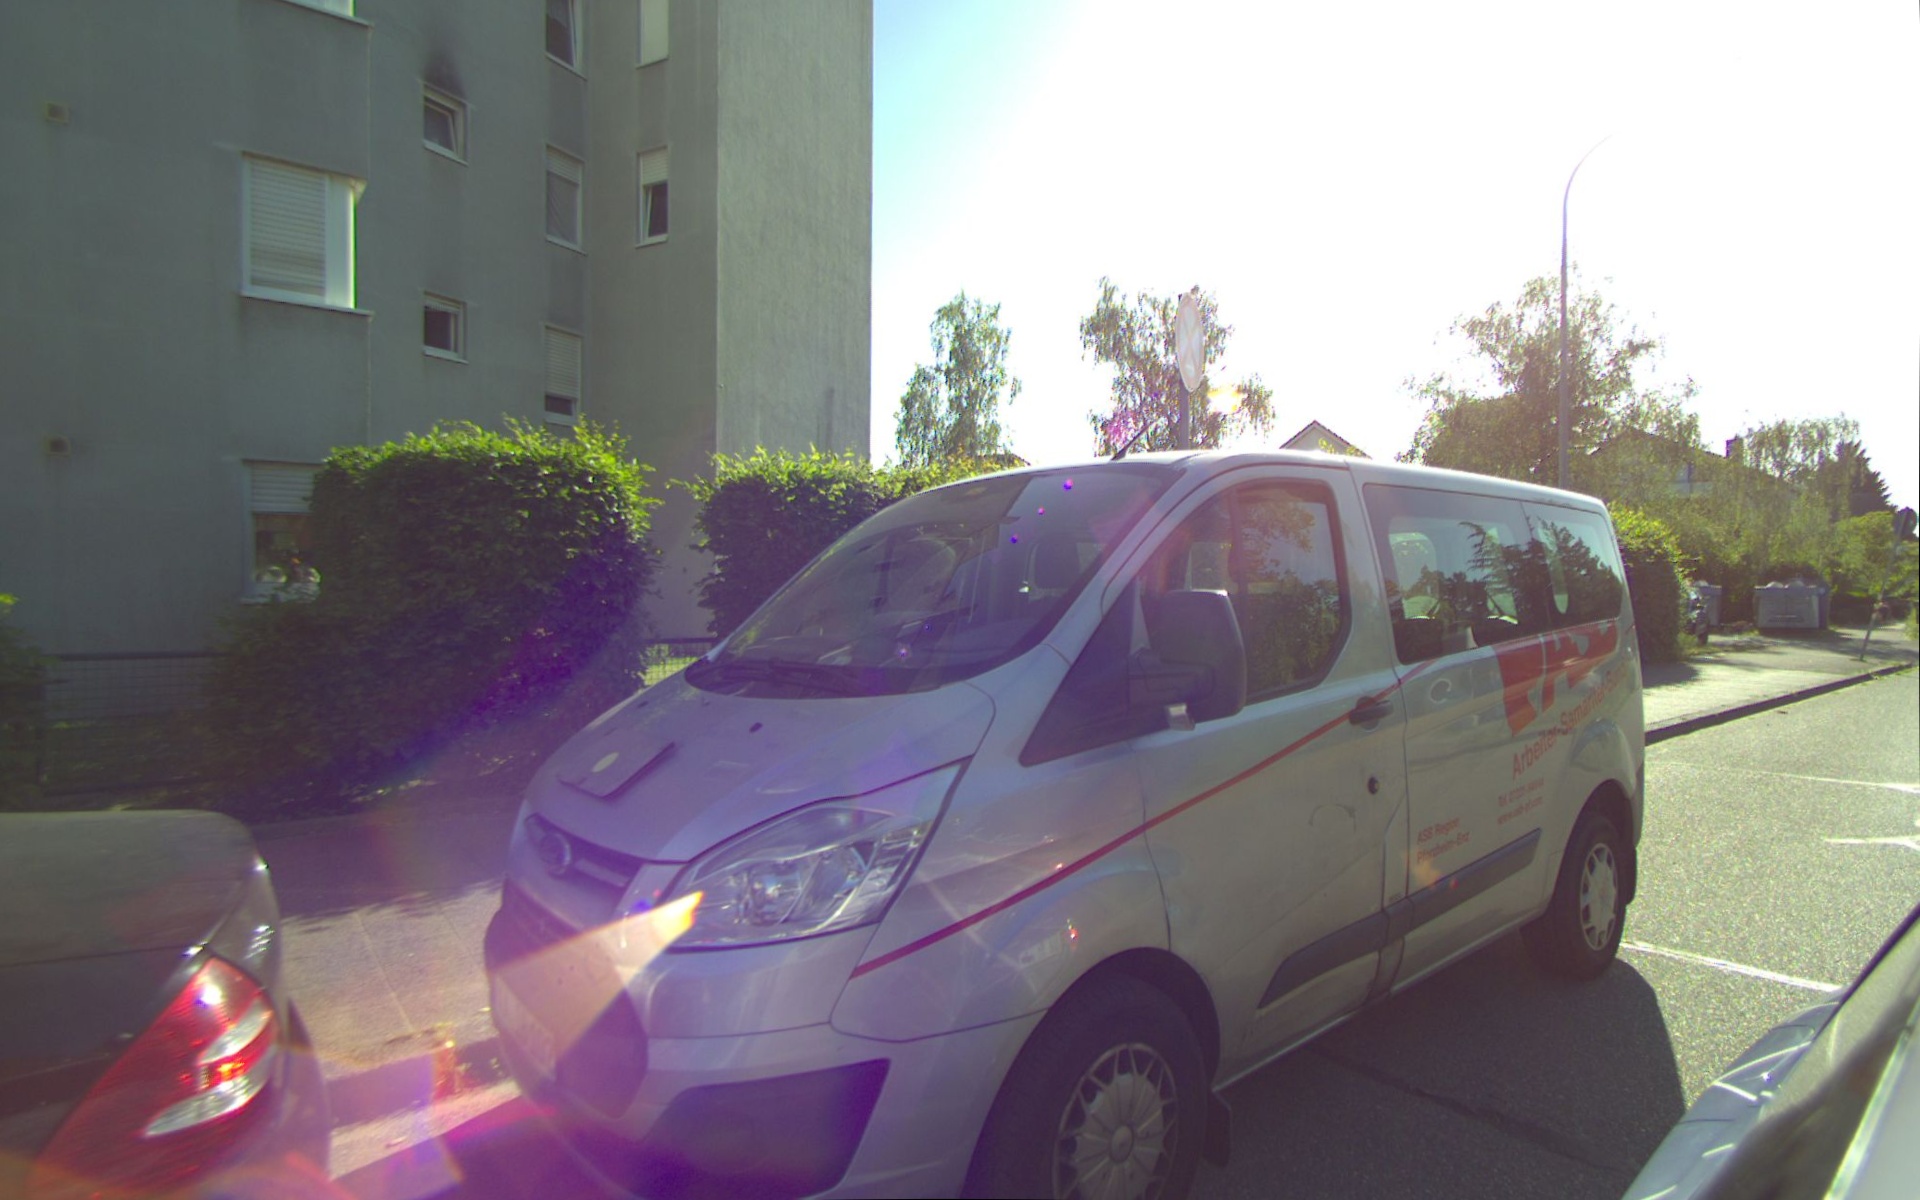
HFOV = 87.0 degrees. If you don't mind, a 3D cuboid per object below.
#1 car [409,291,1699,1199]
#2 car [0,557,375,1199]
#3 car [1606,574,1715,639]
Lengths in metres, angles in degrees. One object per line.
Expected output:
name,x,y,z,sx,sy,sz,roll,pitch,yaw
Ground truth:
car,0.843,0.453,3.823,4.865,1.936,1.998,-1,2,-39
car,-3.308,0.684,0.631,4.838,1.434,1.997,-1,2,-41
car,17.716,0.129,25.543,1.699,1.484,3.477,3,2,44
